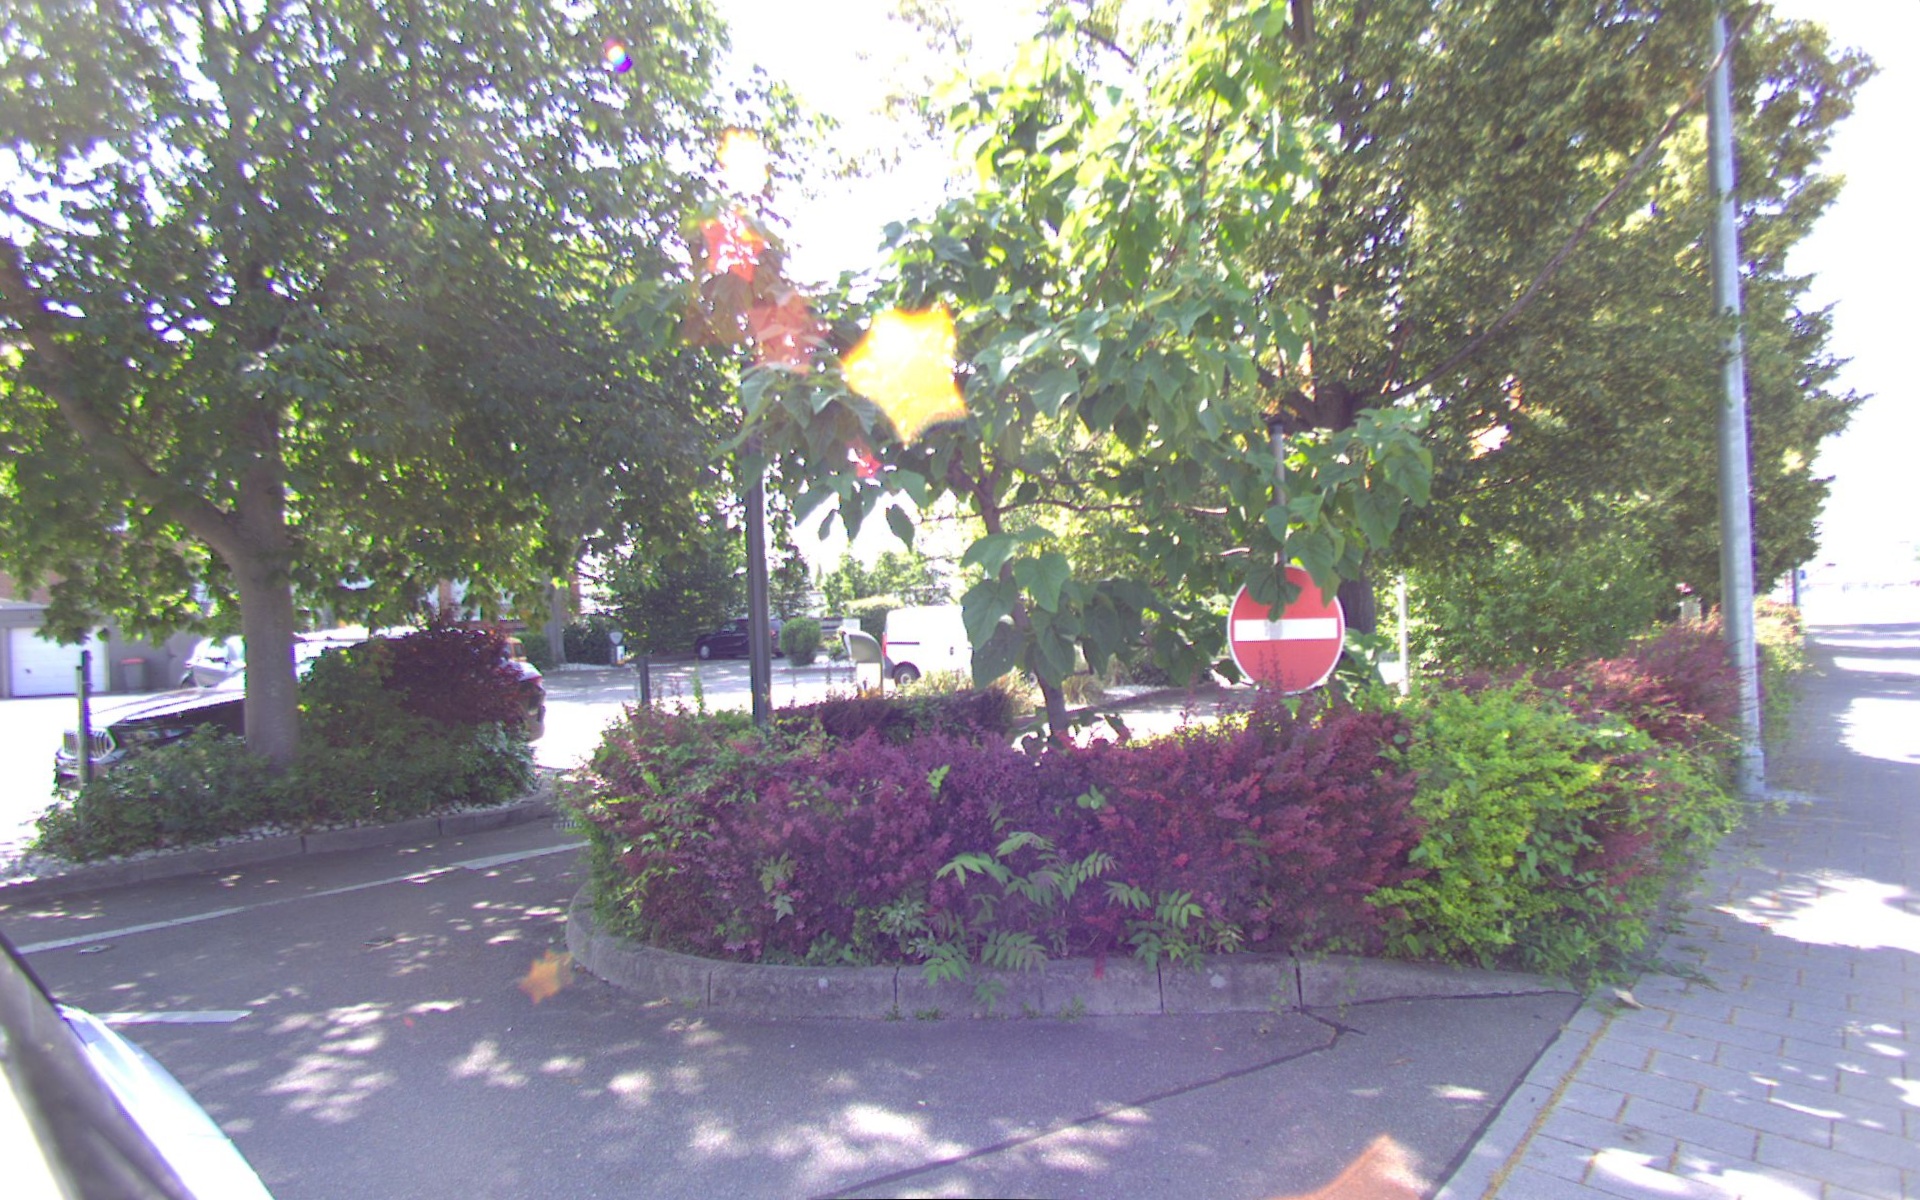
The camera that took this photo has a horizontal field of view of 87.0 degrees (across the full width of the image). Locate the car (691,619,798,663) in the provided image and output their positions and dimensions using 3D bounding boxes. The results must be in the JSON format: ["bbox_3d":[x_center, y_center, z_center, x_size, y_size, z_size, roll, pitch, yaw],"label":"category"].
[{"bbox_3d":[-8.415,1.598,39.460,3.852,1.588,1.802,-2,-1,29],"label":"car"}]

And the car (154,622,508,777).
[{"bbox_3d":[-8.769,1.269,14.589,1.746,1.812,4.202,-1,-1,18],"label":"car"}]

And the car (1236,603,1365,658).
[{"bbox_3d":[10.808,0.938,31.869,2.074,1.572,4.961,-3,-2,41],"label":"car"}]

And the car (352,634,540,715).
[{"bbox_3d":[-12.070,1.687,23.992,1.661,1.644,3.689,-2,-1,28],"label":"car"}]

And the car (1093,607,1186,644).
[{"bbox_3d":[8.117,1.170,45.783,3.829,1.600,1.628,-2,-1,27],"label":"car"}]

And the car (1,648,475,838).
[{"bbox_3d":[-7.452,1.359,10.962,1.643,1.505,3.975,-2,-1,19],"label":"car"}]

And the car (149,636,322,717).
[{"bbox_3d":[-15.394,1.582,21.478,3.597,1.543,1.605,-2,-1,29],"label":"car"}]

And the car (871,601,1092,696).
[{"bbox_3d":[0.442,1.026,21.495,4.325,1.841,1.736,-2,0,23],"label":"car"}]
